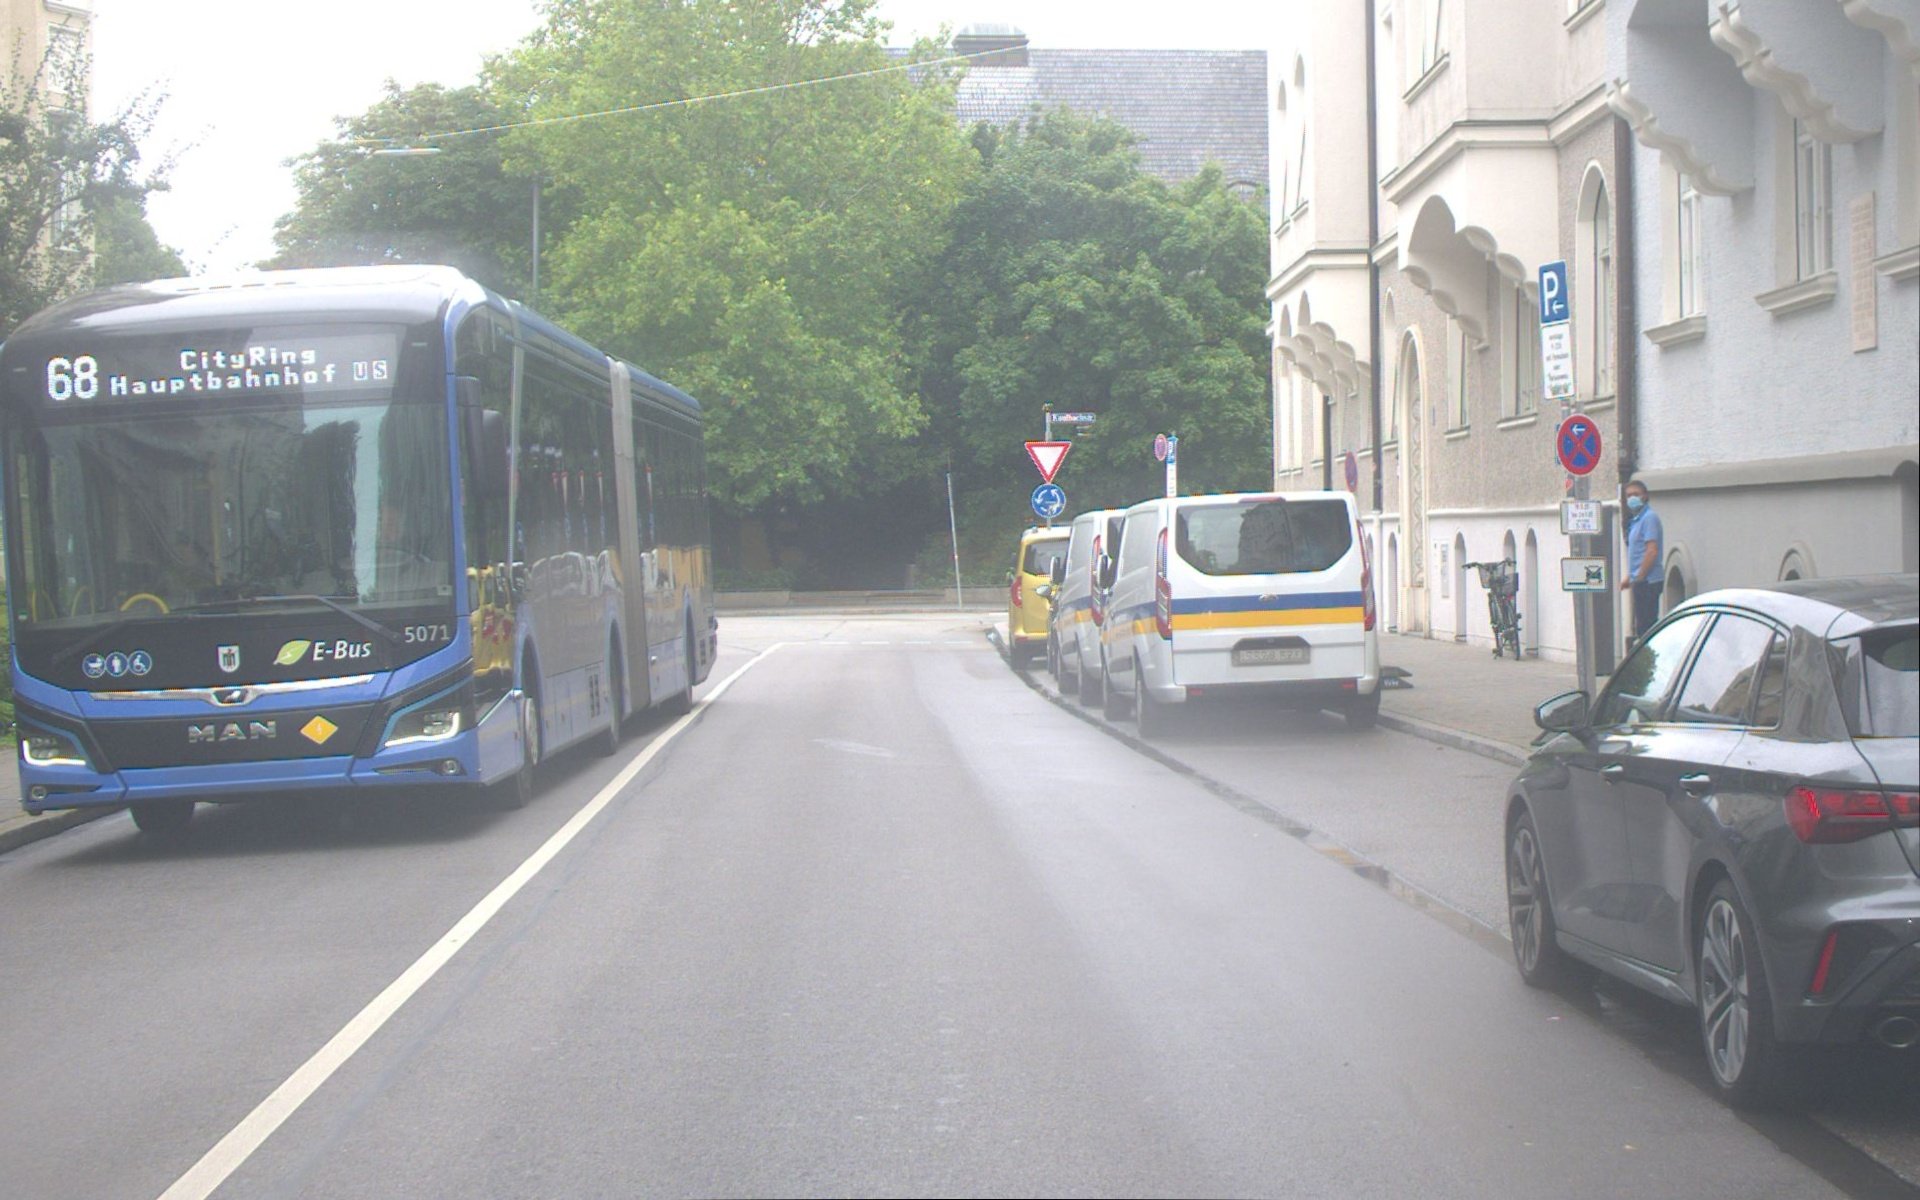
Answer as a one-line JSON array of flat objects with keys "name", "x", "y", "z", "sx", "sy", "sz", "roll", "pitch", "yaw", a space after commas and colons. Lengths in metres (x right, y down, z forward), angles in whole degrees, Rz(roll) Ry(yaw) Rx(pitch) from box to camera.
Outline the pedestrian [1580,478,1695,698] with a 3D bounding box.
[{"name": "pedestrian", "x": 5.945, "y": -0.107, "z": 30.212, "sx": 0.852, "sy": 1.896, "sz": 0.746, "roll": -1, "pitch": 1, "yaw": 2}]

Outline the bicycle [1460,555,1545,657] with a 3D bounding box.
[{"name": "bicycle", "x": 6.193, "y": 0.053, "z": 39.282, "sx": 0.666, "sy": 1.129, "sz": 1.722, "roll": -1, "pitch": 1, "yaw": 0}]

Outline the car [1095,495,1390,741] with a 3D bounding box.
[{"name": "car", "x": 2.338, "y": 0.111, "z": 29.661, "sx": 1.993, "sy": 1.912, "sz": 4.878, "roll": -1, "pitch": 1, "yaw": -1}]

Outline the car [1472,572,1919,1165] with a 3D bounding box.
[{"name": "car", "x": 2.845, "y": 0.639, "z": 10.572, "sx": 1.788, "sy": 1.403, "sz": 4.245, "roll": -1, "pitch": 1, "yaw": -1}]

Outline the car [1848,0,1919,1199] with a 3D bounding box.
[{"name": "car", "x": 3.051, "y": 0.059, "z": 4.819, "sx": 2.077, "sy": 2.679, "sz": 5.445, "roll": -2, "pitch": 1, "yaw": 0}]

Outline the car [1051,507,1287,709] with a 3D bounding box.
[{"name": "car", "x": 2.080, "y": 0.043, "z": 35.616, "sx": 1.993, "sy": 1.912, "sz": 4.887, "roll": -1, "pitch": 1, "yaw": -1}]

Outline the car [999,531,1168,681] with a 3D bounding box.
[{"name": "car", "x": 1.628, "y": 0.043, "z": 46.908, "sx": 1.993, "sy": 1.912, "sz": 4.571, "roll": -1, "pitch": 1, "yaw": -1}]

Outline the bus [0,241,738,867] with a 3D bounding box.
[{"name": "bus", "x": -4.087, "y": -0.351, "z": 27.218, "sx": 3.171, "sy": 3.201, "sz": 18.058, "roll": -2, "pitch": 1, "yaw": 1}]
